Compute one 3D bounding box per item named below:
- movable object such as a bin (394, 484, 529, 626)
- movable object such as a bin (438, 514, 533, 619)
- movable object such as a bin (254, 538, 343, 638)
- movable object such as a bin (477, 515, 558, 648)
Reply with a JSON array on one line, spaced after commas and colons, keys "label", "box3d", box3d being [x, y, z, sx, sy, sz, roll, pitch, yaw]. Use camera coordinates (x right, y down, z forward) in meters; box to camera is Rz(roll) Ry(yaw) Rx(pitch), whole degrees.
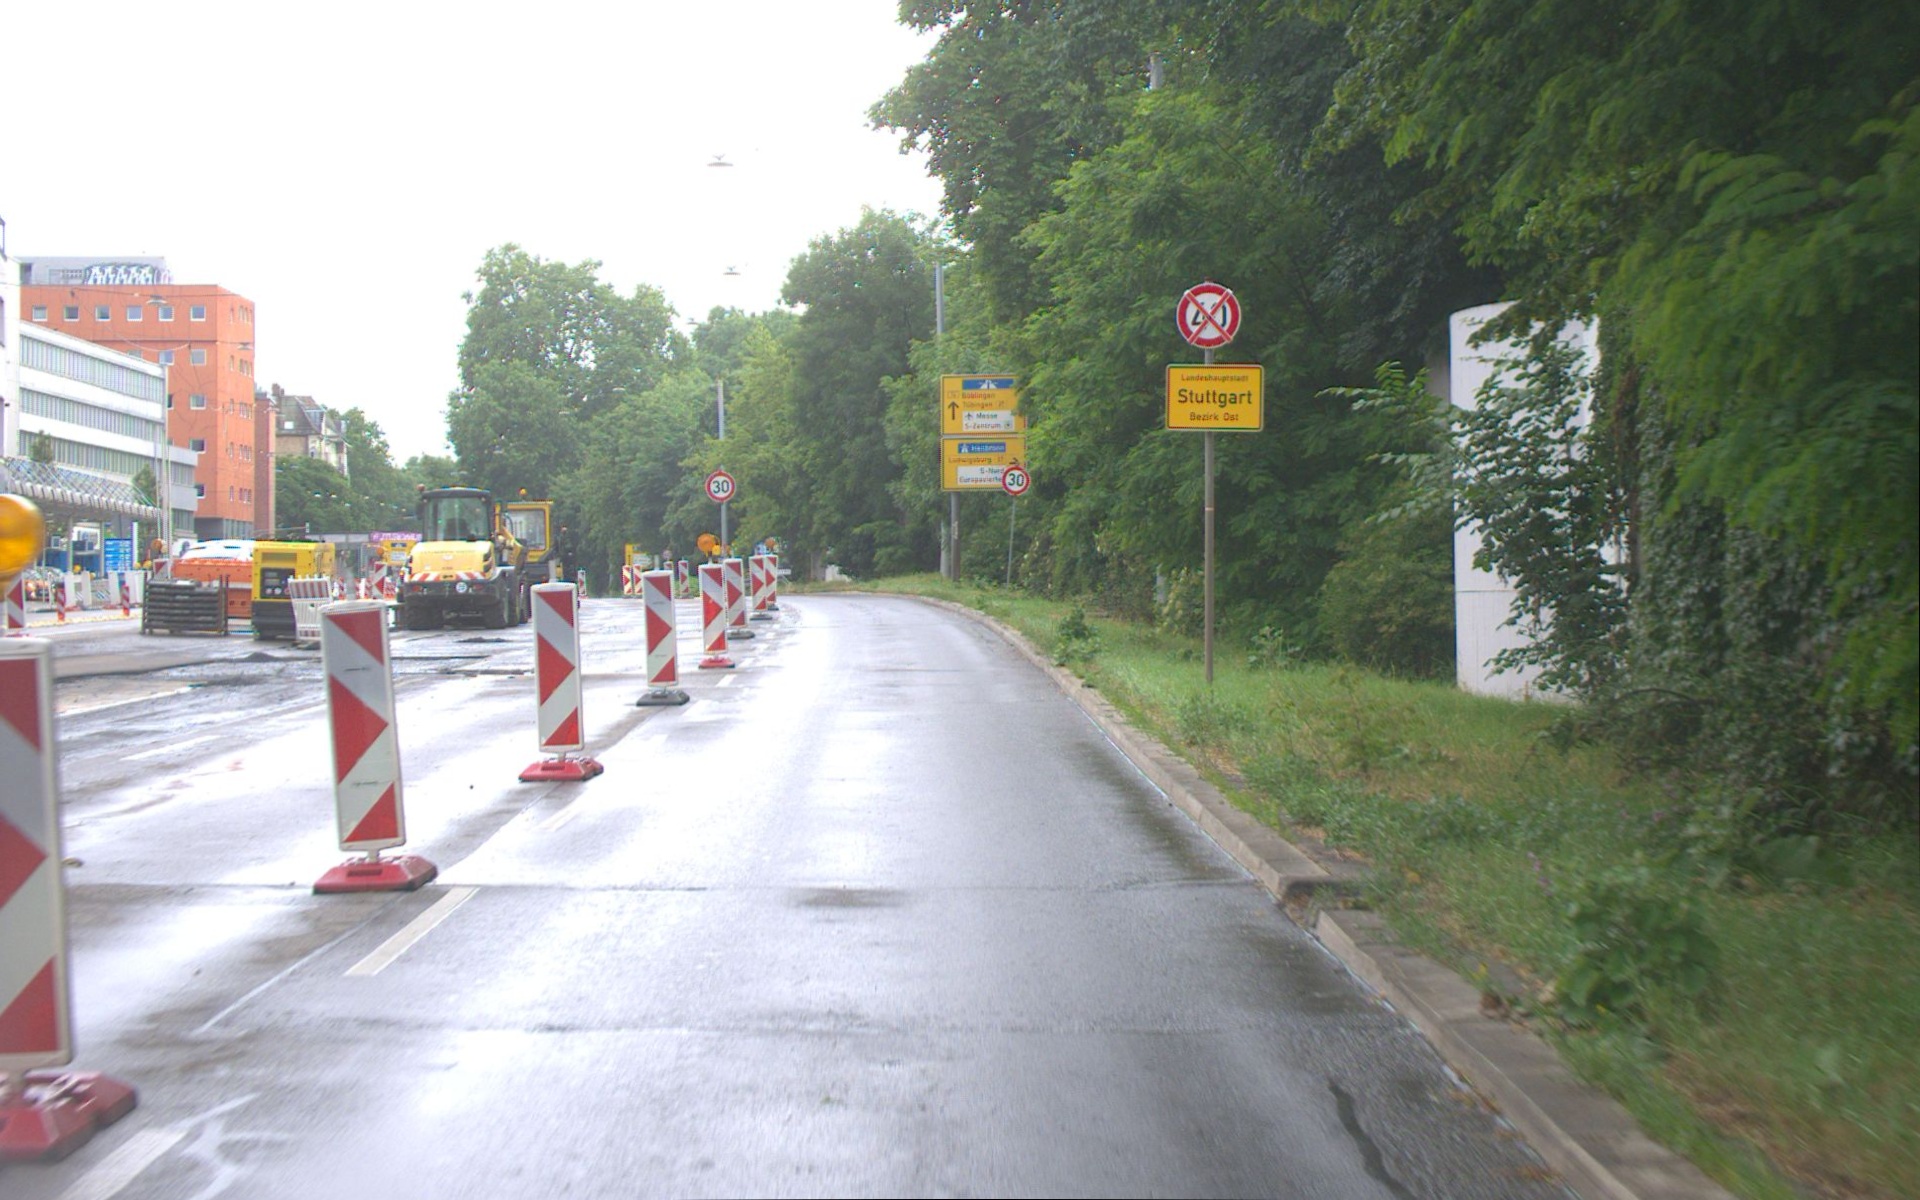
[{"label": "movable object such as a bin", "box3d": [-9.503, -0.867, 65.948, 1.902, 2.600, 5.383, 0, 1, -1]}, {"label": "movable object such as a bin", "box3d": [-9.818, -0.710, 71.353, 1.362, 2.083, 5.030, 0, 1, -1]}, {"label": "movable object such as a bin", "box3d": [-11.047, -0.212, 57.466, 1.083, 1.639, 2.439, 0, 1, -2]}, {"label": "movable object such as a bin", "box3d": [-10.368, -0.460, 80.705, 1.465, 2.998, 3.725, -2, 1, -3]}]
